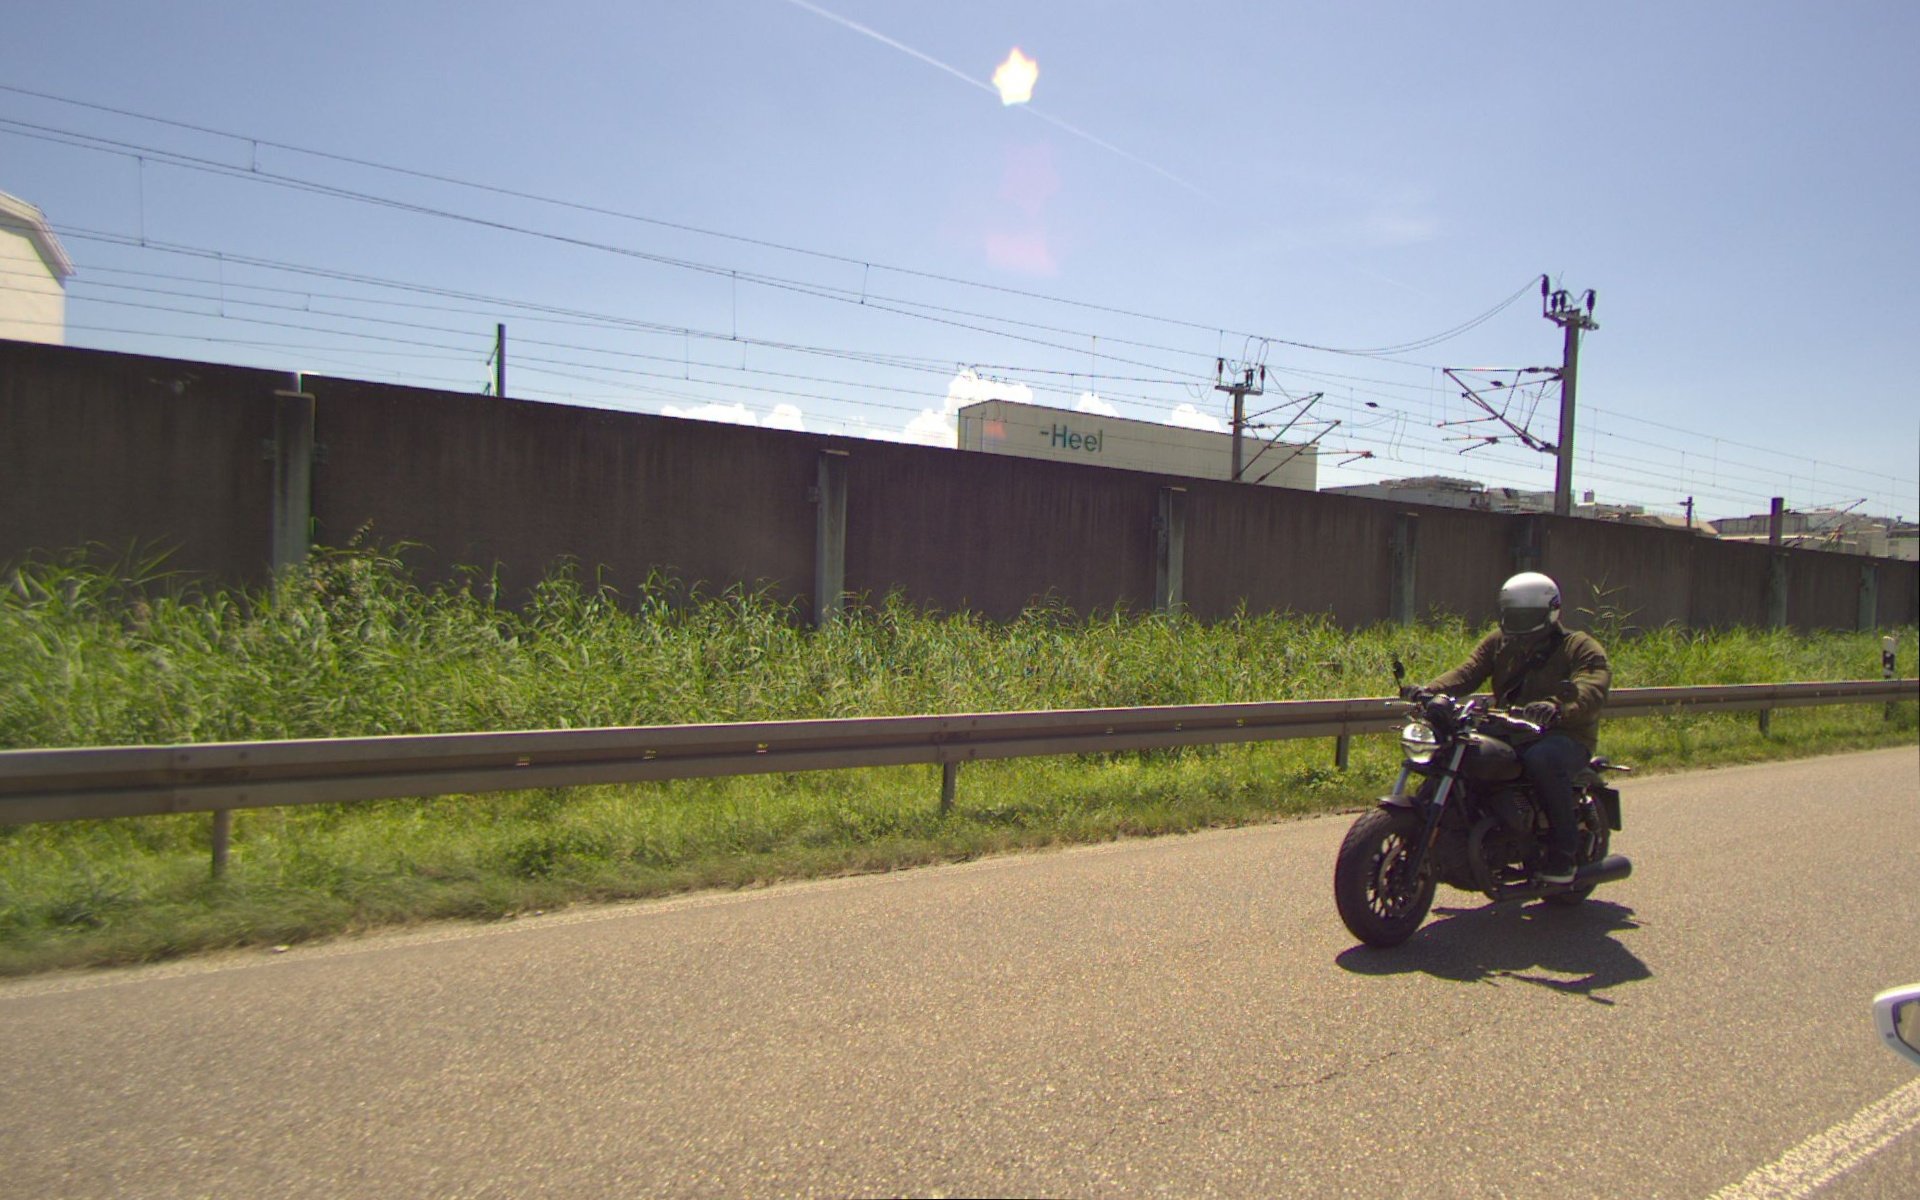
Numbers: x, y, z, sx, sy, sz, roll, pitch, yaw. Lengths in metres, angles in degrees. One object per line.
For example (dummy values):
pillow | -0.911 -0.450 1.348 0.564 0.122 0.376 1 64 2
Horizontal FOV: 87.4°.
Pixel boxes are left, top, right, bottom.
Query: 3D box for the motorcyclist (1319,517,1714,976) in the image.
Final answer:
motorcyclist | 2.720 0.614 4.988 1.231 1.889 1.248 1 0 -30

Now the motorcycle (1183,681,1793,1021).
motorcycle | 2.687 1.013 4.960 3.093 1.087 1.231 2 0 -31
